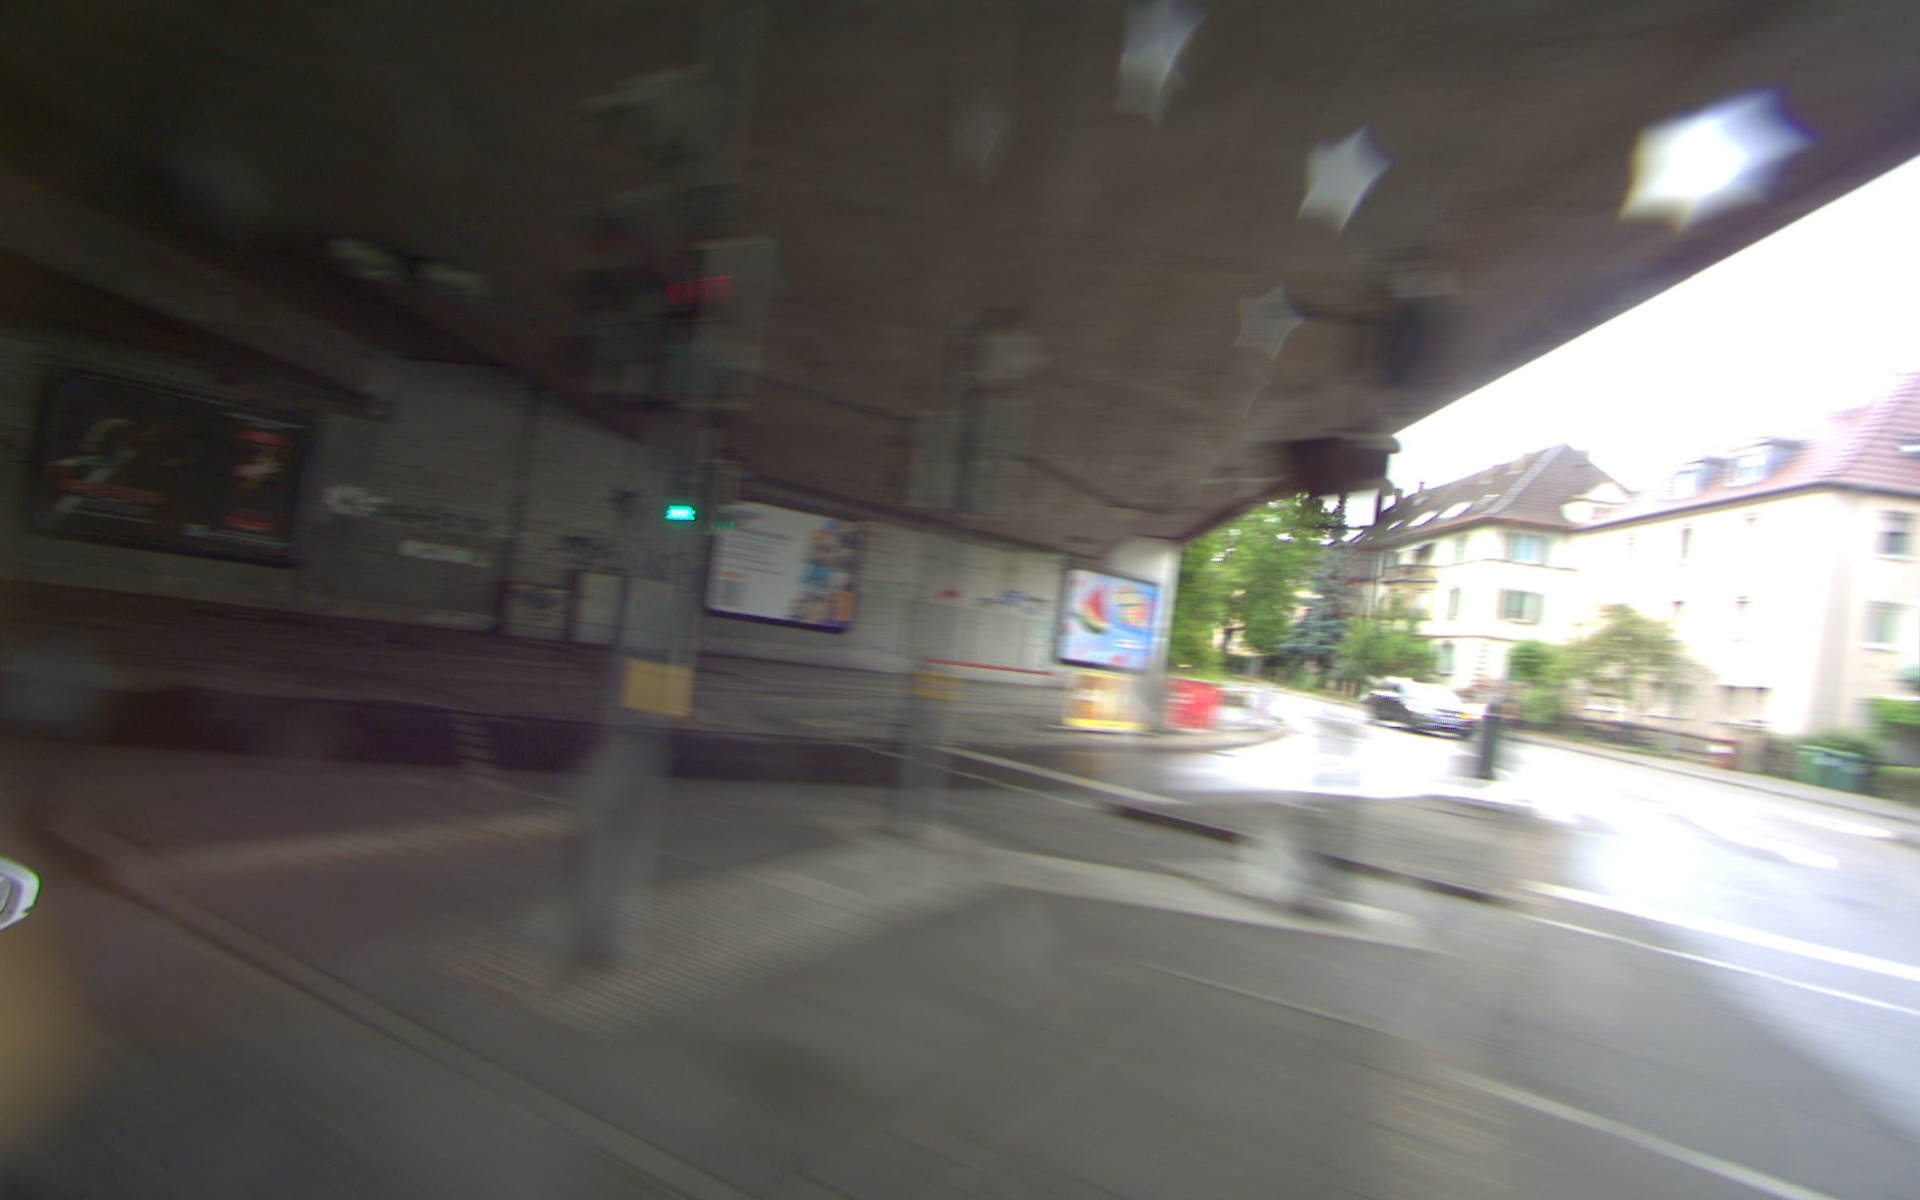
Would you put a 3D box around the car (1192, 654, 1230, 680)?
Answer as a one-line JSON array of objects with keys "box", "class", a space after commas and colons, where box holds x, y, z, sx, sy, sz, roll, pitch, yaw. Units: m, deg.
[{"box": [20.057, 5.346, 80.496, 1.847, 1.548, 3.999, 9, 0, 0], "class": "car"}]

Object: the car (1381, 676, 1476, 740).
[{"box": [14.894, 3.394, 32.197, 1.736, 1.598, 4.238, 6, -1, 12], "class": "car"}]
